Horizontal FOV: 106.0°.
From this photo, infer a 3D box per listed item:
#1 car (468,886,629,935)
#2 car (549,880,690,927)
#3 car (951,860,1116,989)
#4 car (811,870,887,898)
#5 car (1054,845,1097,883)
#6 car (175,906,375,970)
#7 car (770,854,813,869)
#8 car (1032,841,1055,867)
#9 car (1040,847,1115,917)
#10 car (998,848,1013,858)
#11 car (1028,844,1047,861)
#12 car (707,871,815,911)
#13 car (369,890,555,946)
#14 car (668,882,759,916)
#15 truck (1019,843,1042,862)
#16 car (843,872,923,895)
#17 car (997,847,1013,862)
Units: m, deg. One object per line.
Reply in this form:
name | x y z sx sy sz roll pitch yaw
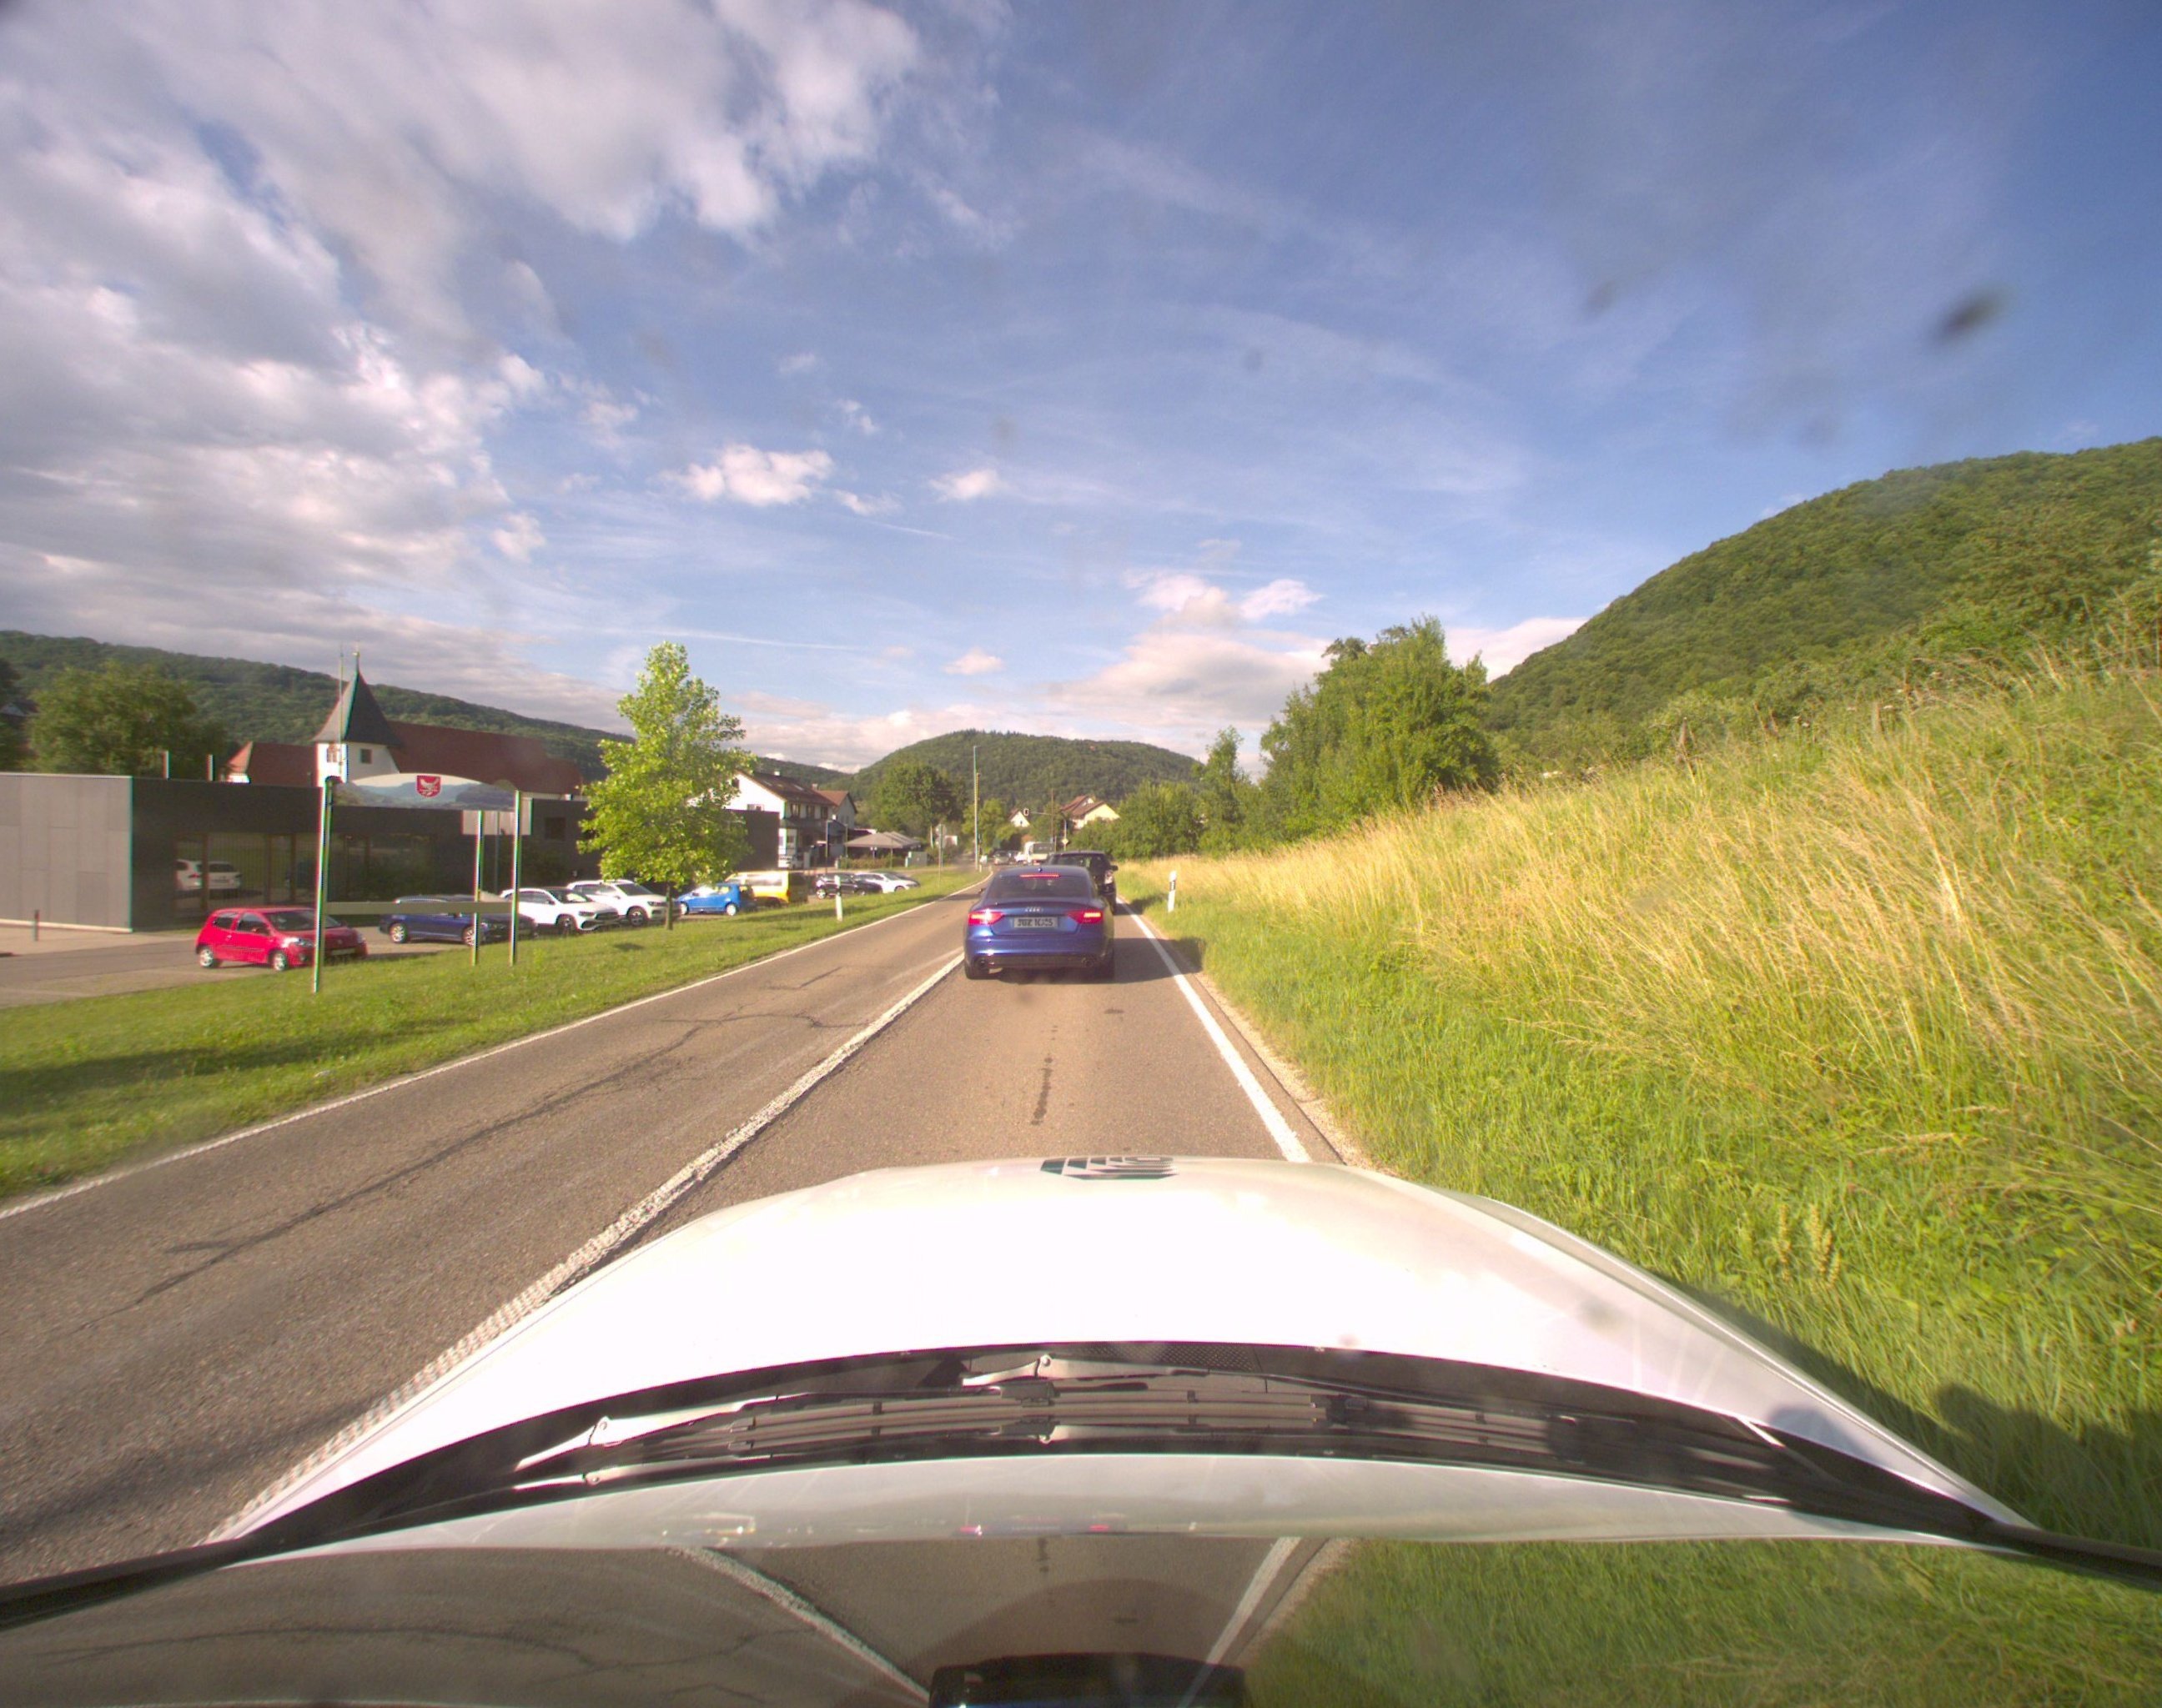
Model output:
car | -18.550 1.931 28.480 4.511 1.555 2.005 0 -1 10
car | -17.988 1.902 31.842 4.511 1.703 2.005 0 -1 10
car | -0.443 0.800 11.008 1.788 1.388 4.002 -1 -1 3
car | -14.205 1.847 49.992 4.000 1.637 2.005 0 -1 10
car | -0.189 0.444 36.836 1.798 1.639 4.465 0 -1 2
car | -19.871 2.038 20.143 3.698 1.398 1.620 0 -1 10
car | -28.793 0.709 81.098 1.749 1.442 4.021 -1 -1 22
car | -3.234 0.024 69.765 1.744 2.195 3.992 0 -1 -6
car | -0.014 0.681 21.238 1.739 1.639 4.002 0 -1 3
car | -11.147 -0.114 120.738 1.700 1.490 3.509 0 -1 -15
car | -4.353 -0.088 81.040 1.744 1.639 3.992 0 -1 -6
car | -15.711 1.804 40.034 4.578 1.868 2.007 0 -1 13
car | -19.120 1.944 25.243 4.511 1.555 2.005 0 -1 10
car | -16.885 2.058 37.480 3.474 1.472 1.636 0 -1 7
truck | -5.380 -0.127 86.179 1.698 1.953 5.900 0 -1 -11
car | -13.201 1.982 54.415 4.784 1.493 1.886 0 -1 10
car | -8.743 0.048 93.188 1.733 1.662 3.463 0 -1 -7
